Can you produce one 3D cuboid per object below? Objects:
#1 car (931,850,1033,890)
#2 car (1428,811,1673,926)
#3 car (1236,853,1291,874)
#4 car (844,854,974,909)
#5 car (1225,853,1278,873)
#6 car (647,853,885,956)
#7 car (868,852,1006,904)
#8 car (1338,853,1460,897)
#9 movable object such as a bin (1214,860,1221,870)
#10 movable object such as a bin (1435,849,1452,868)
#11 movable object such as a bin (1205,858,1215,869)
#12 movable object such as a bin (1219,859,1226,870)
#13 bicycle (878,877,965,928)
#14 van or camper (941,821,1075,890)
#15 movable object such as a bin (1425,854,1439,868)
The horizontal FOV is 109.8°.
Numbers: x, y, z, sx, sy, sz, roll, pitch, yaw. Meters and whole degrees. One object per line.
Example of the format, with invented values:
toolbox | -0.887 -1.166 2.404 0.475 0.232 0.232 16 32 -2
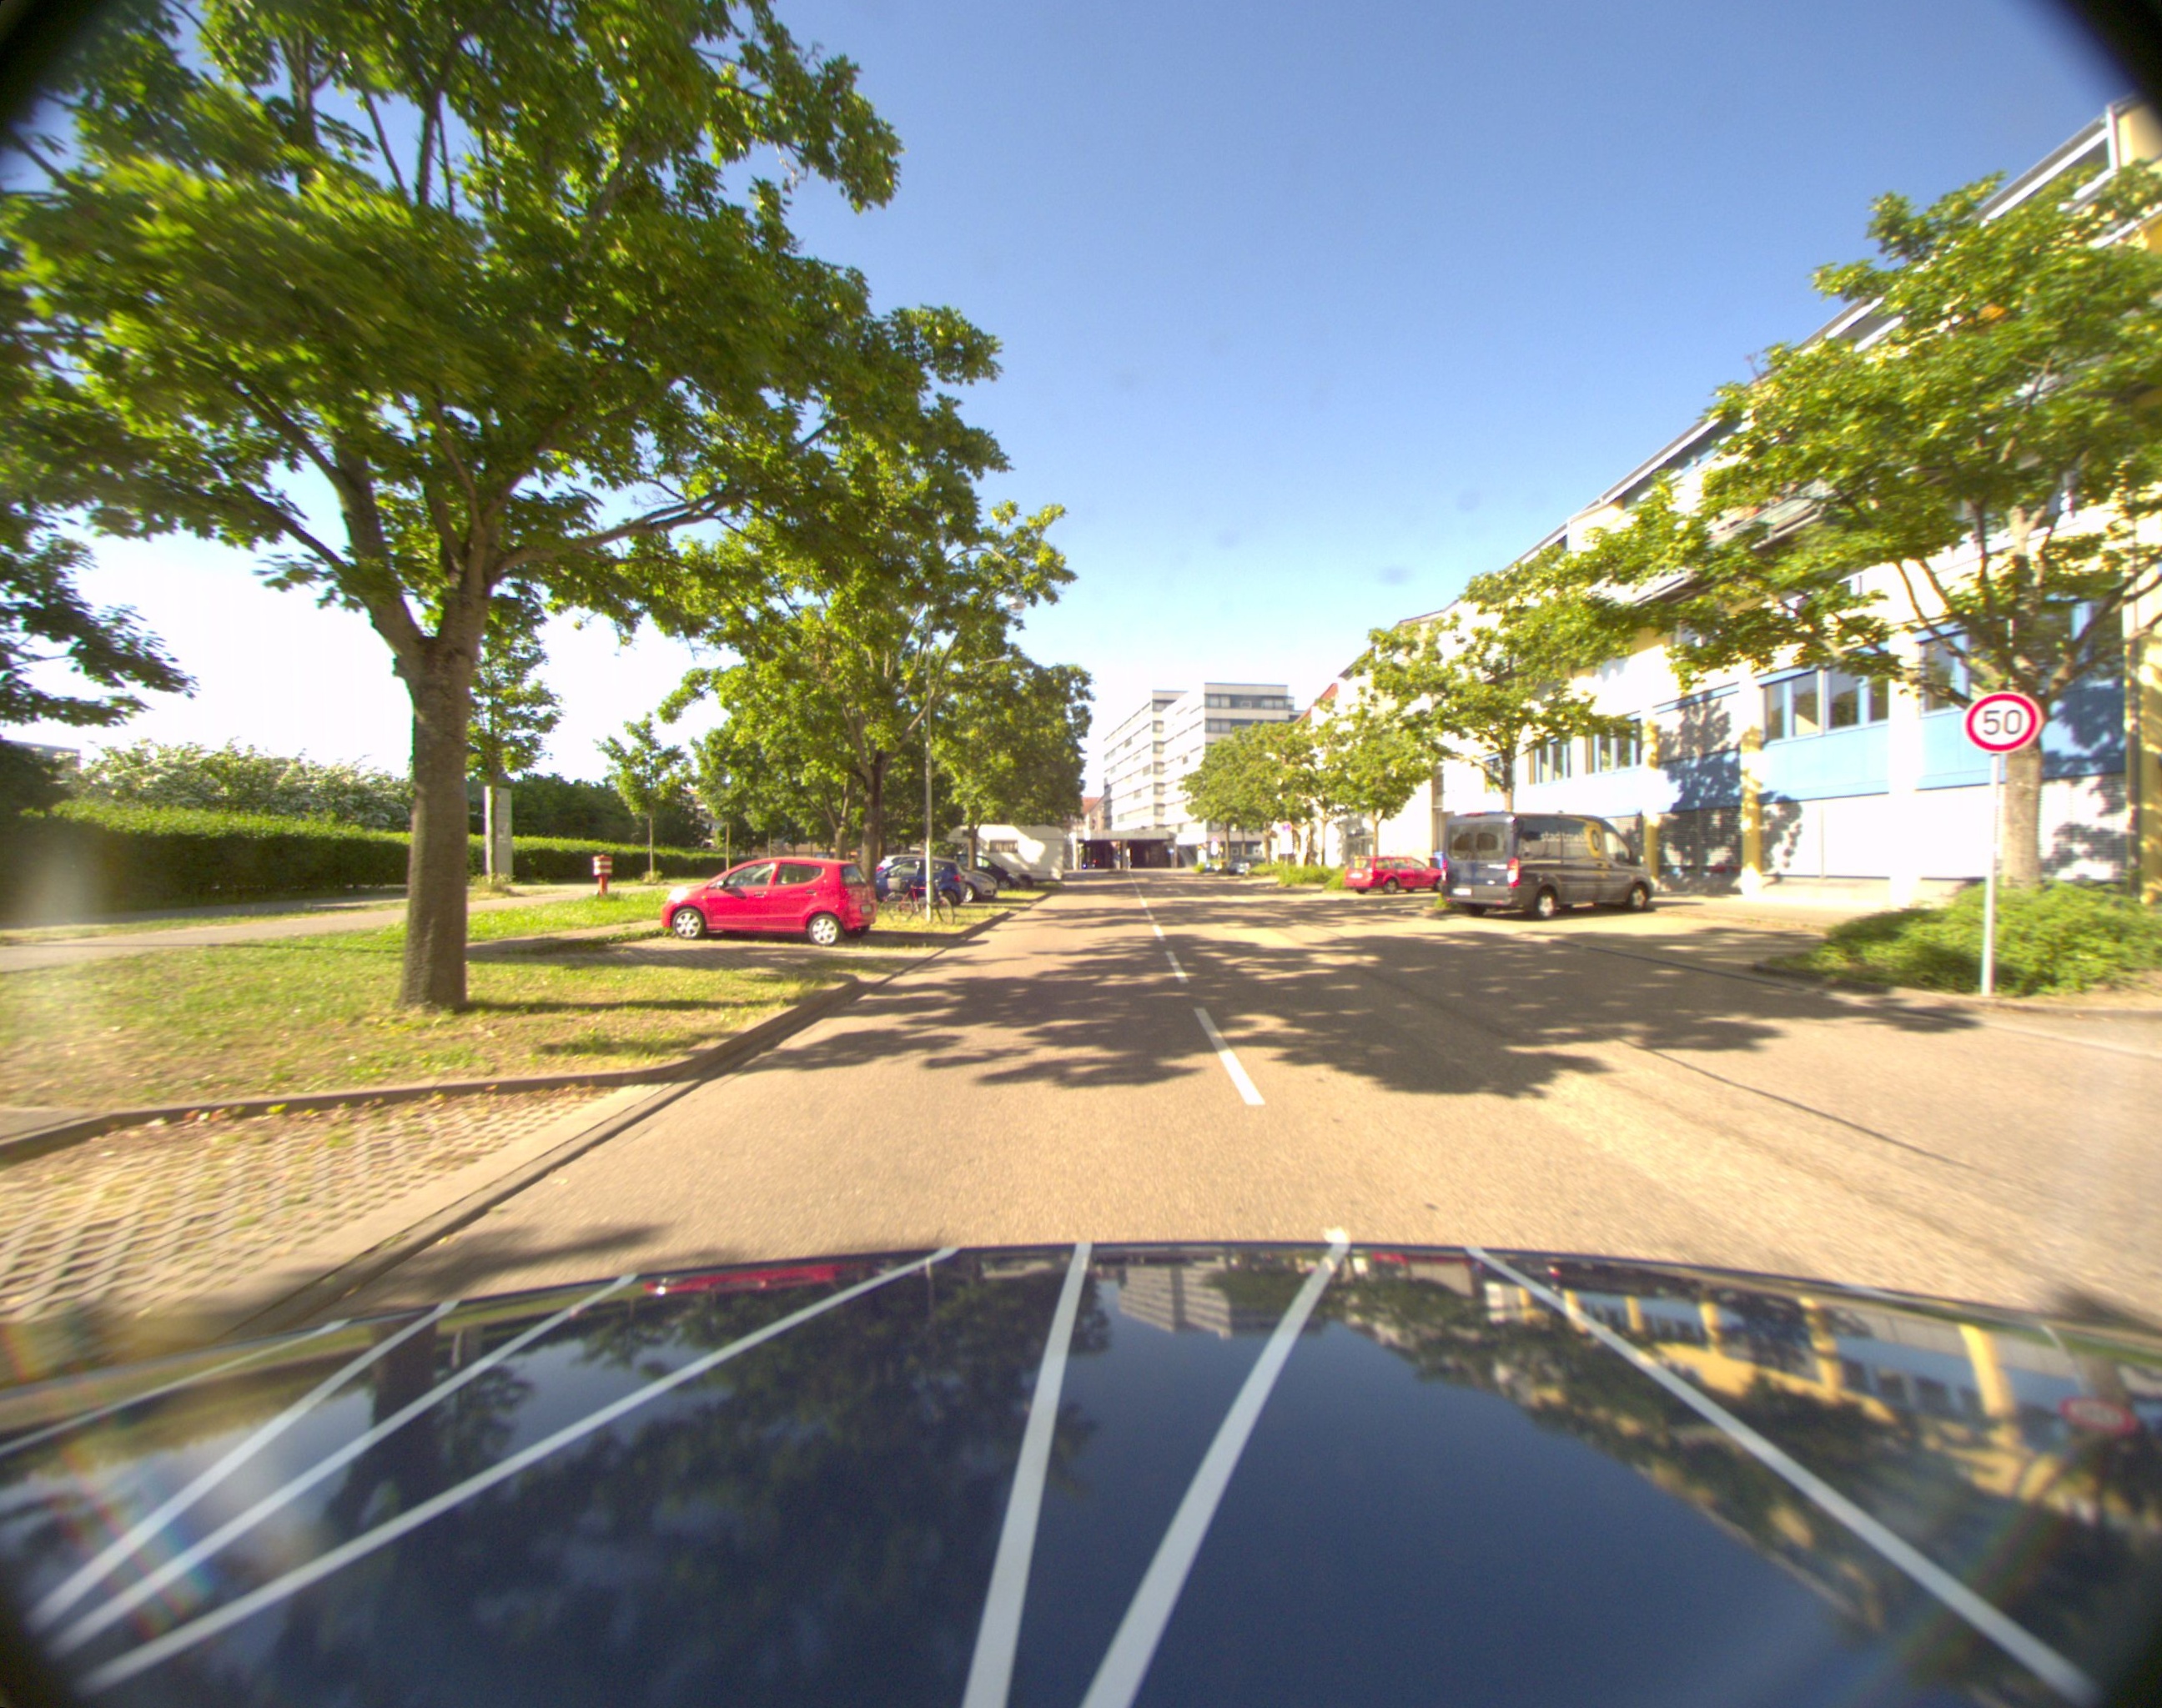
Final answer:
car | -4.290 0.694 33.380 4.159 1.537 1.859 2 0 1
car | 11.312 0.275 18.296 5.511 2.422 2.182 -2 0 -23
car | 14.079 0.726 58.606 4.006 1.455 1.807 -2 1 -31
car | -5.133 0.799 23.000 3.471 1.470 1.859 2 0 0
car | 13.883 0.709 61.763 4.006 1.455 1.807 -2 1 -31
car | -5.442 0.823 13.368 3.441 1.535 1.628 3 1 4
car | -4.813 0.781 25.753 4.203 1.537 1.860 2 0 4
car | 12.206 0.779 29.181 4.239 1.467 1.767 -2 0 -21
movable object such as a bin | 13.167 1.057 73.282 0.476 0.954 0.543 -2 1 27
movable object such as a bin | 24.419 0.327 51.210 0.622 1.272 1.120 0 0 -1
movable object such as a bin | 12.485 0.952 73.630 0.674 1.067 0.804 0 1 28
movable object such as a bin | 13.744 0.994 73.897 0.476 1.034 0.543 -2 1 28
bicycle | -3.403 1.014 16.203 1.753 0.985 0.530 1 1 15
van or camper | -3.368 0.055 36.324 5.996 2.966 2.671 2 1 2
movable object such as a bin | 23.581 0.460 51.066 0.622 0.967 0.690 0 0 -1
